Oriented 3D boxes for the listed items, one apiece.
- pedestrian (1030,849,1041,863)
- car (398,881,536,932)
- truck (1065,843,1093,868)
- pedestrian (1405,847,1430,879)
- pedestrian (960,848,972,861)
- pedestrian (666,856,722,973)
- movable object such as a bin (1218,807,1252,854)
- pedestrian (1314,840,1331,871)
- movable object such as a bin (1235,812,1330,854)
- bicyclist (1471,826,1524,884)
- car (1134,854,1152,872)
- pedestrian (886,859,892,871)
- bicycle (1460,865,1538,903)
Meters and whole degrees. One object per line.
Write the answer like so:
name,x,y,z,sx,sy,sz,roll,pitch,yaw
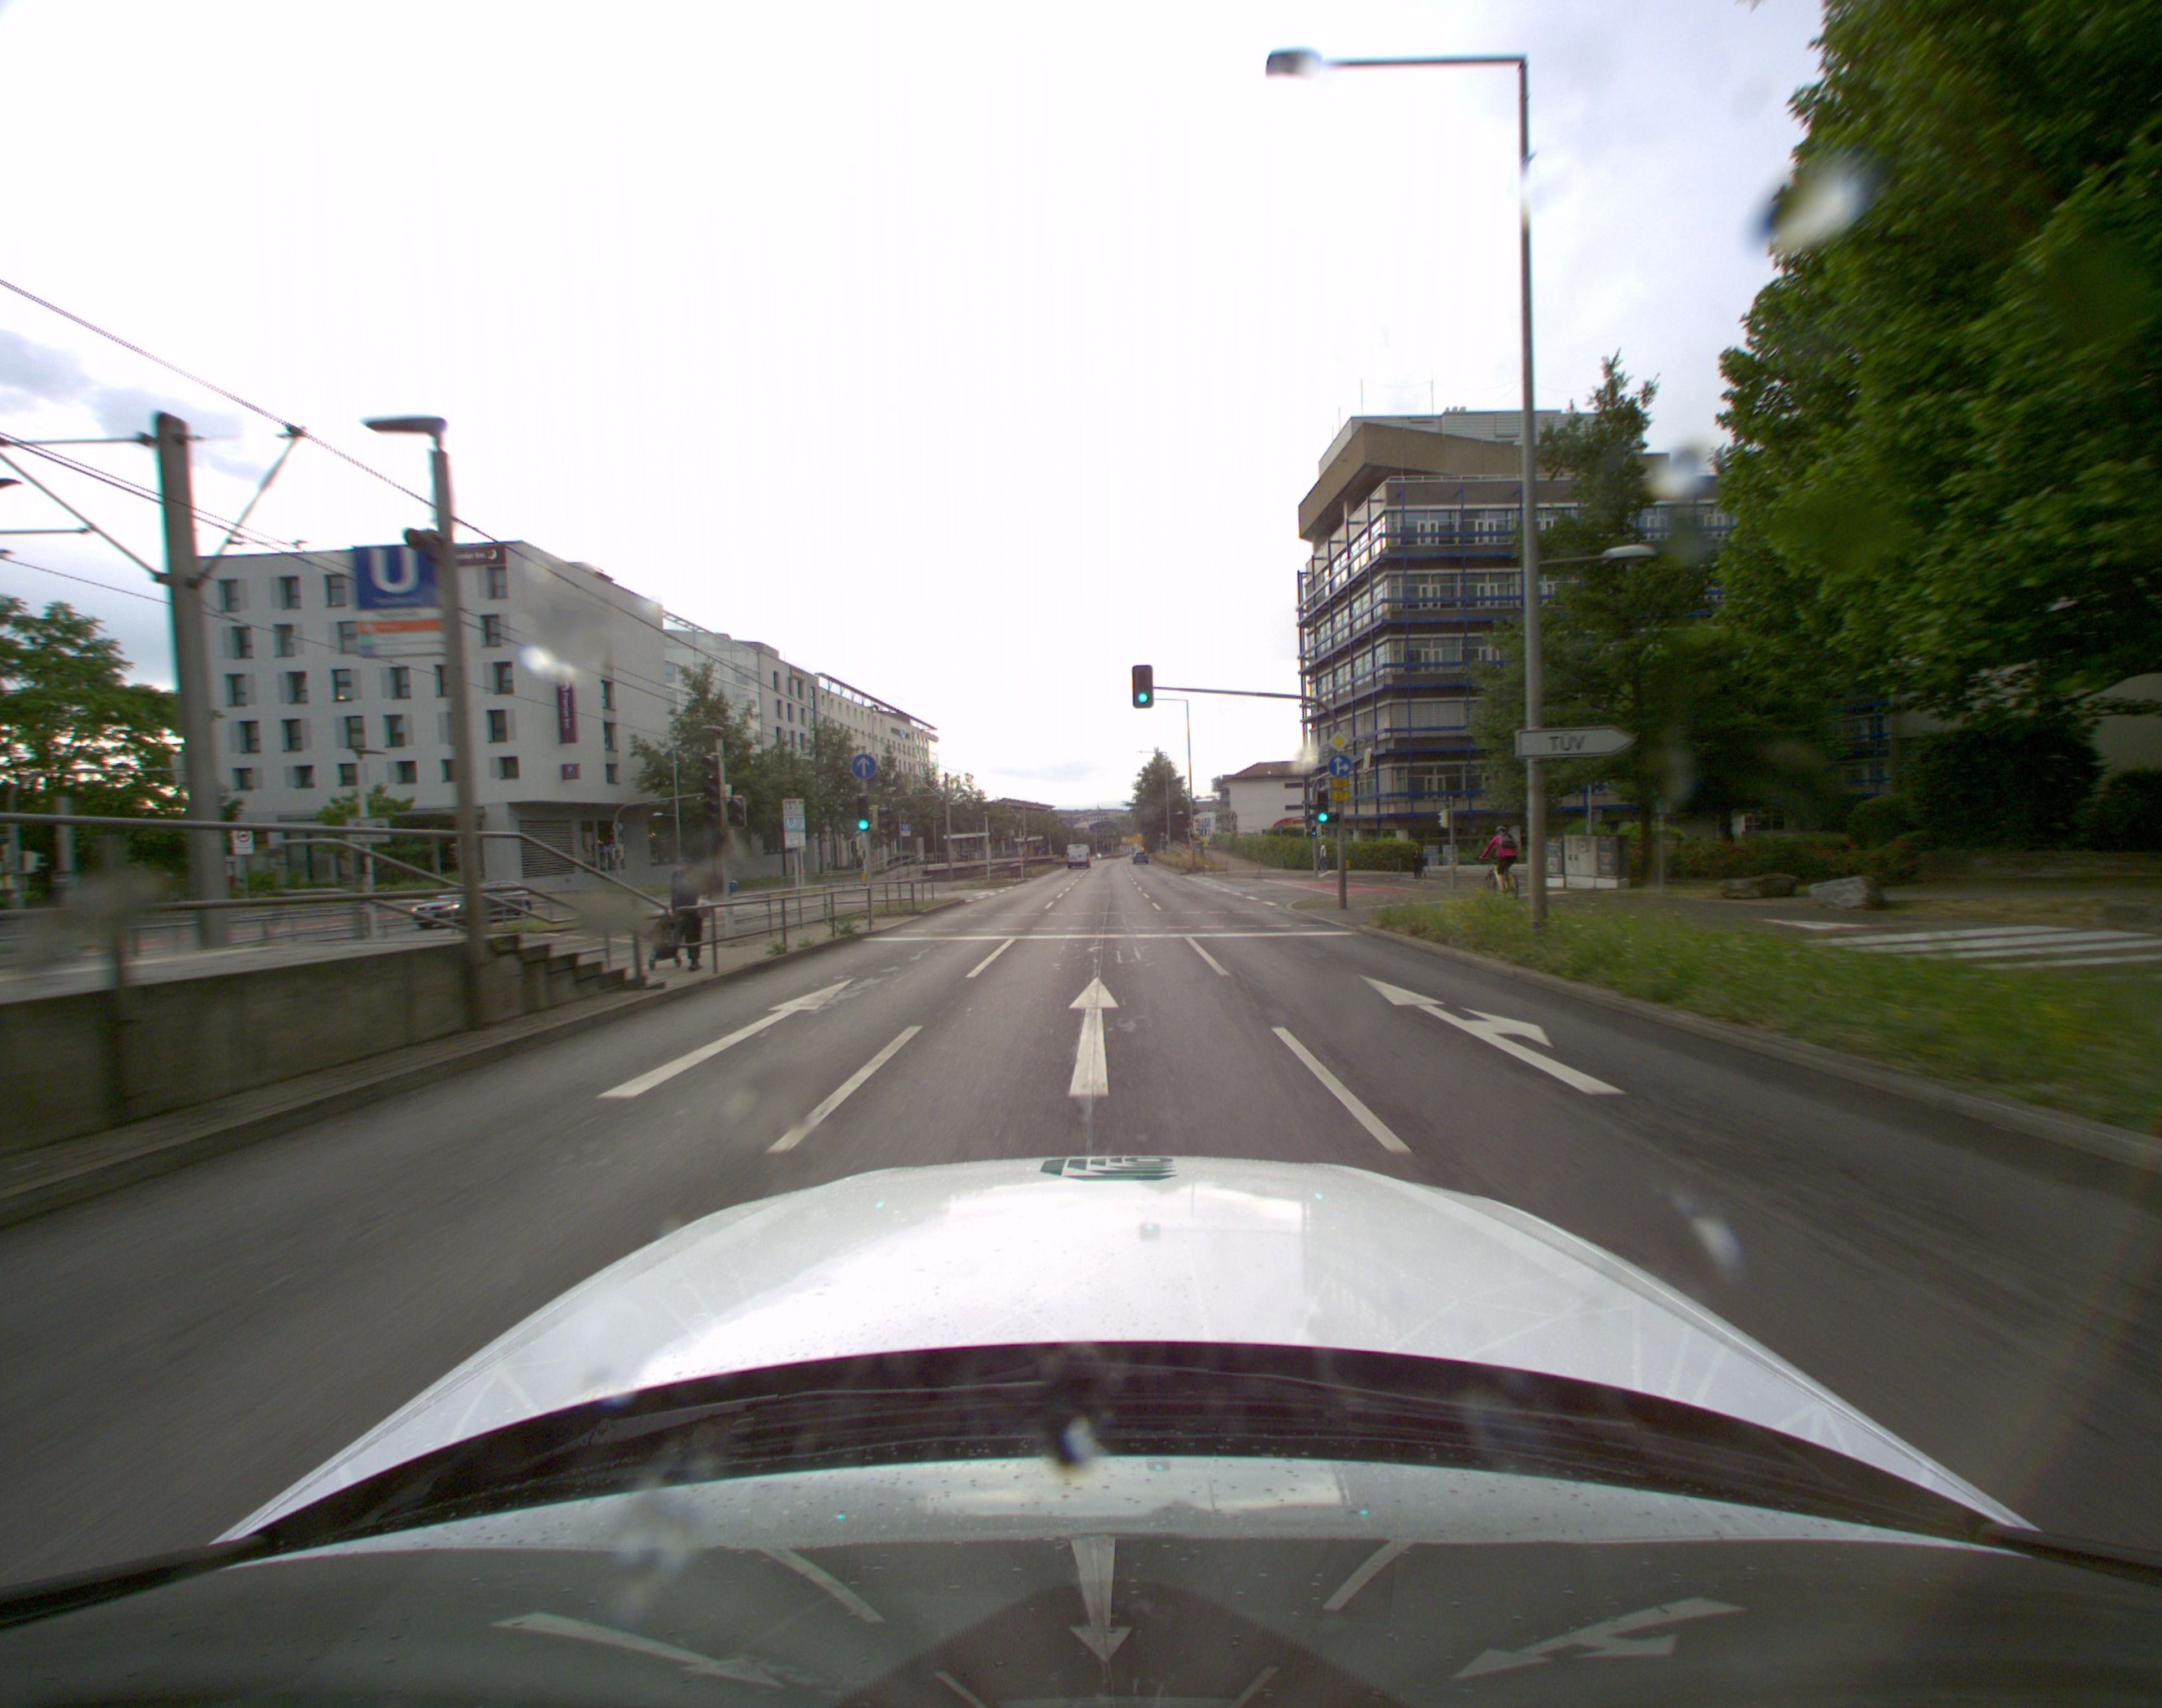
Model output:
pedestrian,-6.727,0.275,121.222,1.256,2.014,1.135,-1,-1,20
car,-20.759,1.739,27.738,1.722,1.423,3.780,-2,0,1
truck,-0.165,0.176,78.499,2.350,2.262,5.310,0,0,3
pedestrian,16.474,0.431,39.868,0.892,1.541,0.804,-2,0,41
pedestrian,-11.761,0.024,83.313,0.957,1.300,0.685,-2,0,3
pedestrian,-5.708,0.859,12.020,0.704,1.650,0.644,-1,0,-27
movable object such as a bin,19.300,-2.821,102.440,3.274,5.685,8.776,0,-1,5
pedestrian,13.483,0.088,45.437,0.553,1.652,0.830,-2,0,-8
movable object such as a bin,27.937,-2.849,113.369,12.093,5.261,3.791,-3,-1,2
bicyclist,9.604,0.031,18.814,0.653,1.288,1.220,0,0,2
car,7.089,1.025,93.171,1.984,2.014,3.940,0,-1,5
pedestrian,-25.481,1.478,107.951,0.597,1.578,0.836,0,-1,4
bicycle,9.632,0.658,18.869,0.665,0.809,2.319,0,0,2
